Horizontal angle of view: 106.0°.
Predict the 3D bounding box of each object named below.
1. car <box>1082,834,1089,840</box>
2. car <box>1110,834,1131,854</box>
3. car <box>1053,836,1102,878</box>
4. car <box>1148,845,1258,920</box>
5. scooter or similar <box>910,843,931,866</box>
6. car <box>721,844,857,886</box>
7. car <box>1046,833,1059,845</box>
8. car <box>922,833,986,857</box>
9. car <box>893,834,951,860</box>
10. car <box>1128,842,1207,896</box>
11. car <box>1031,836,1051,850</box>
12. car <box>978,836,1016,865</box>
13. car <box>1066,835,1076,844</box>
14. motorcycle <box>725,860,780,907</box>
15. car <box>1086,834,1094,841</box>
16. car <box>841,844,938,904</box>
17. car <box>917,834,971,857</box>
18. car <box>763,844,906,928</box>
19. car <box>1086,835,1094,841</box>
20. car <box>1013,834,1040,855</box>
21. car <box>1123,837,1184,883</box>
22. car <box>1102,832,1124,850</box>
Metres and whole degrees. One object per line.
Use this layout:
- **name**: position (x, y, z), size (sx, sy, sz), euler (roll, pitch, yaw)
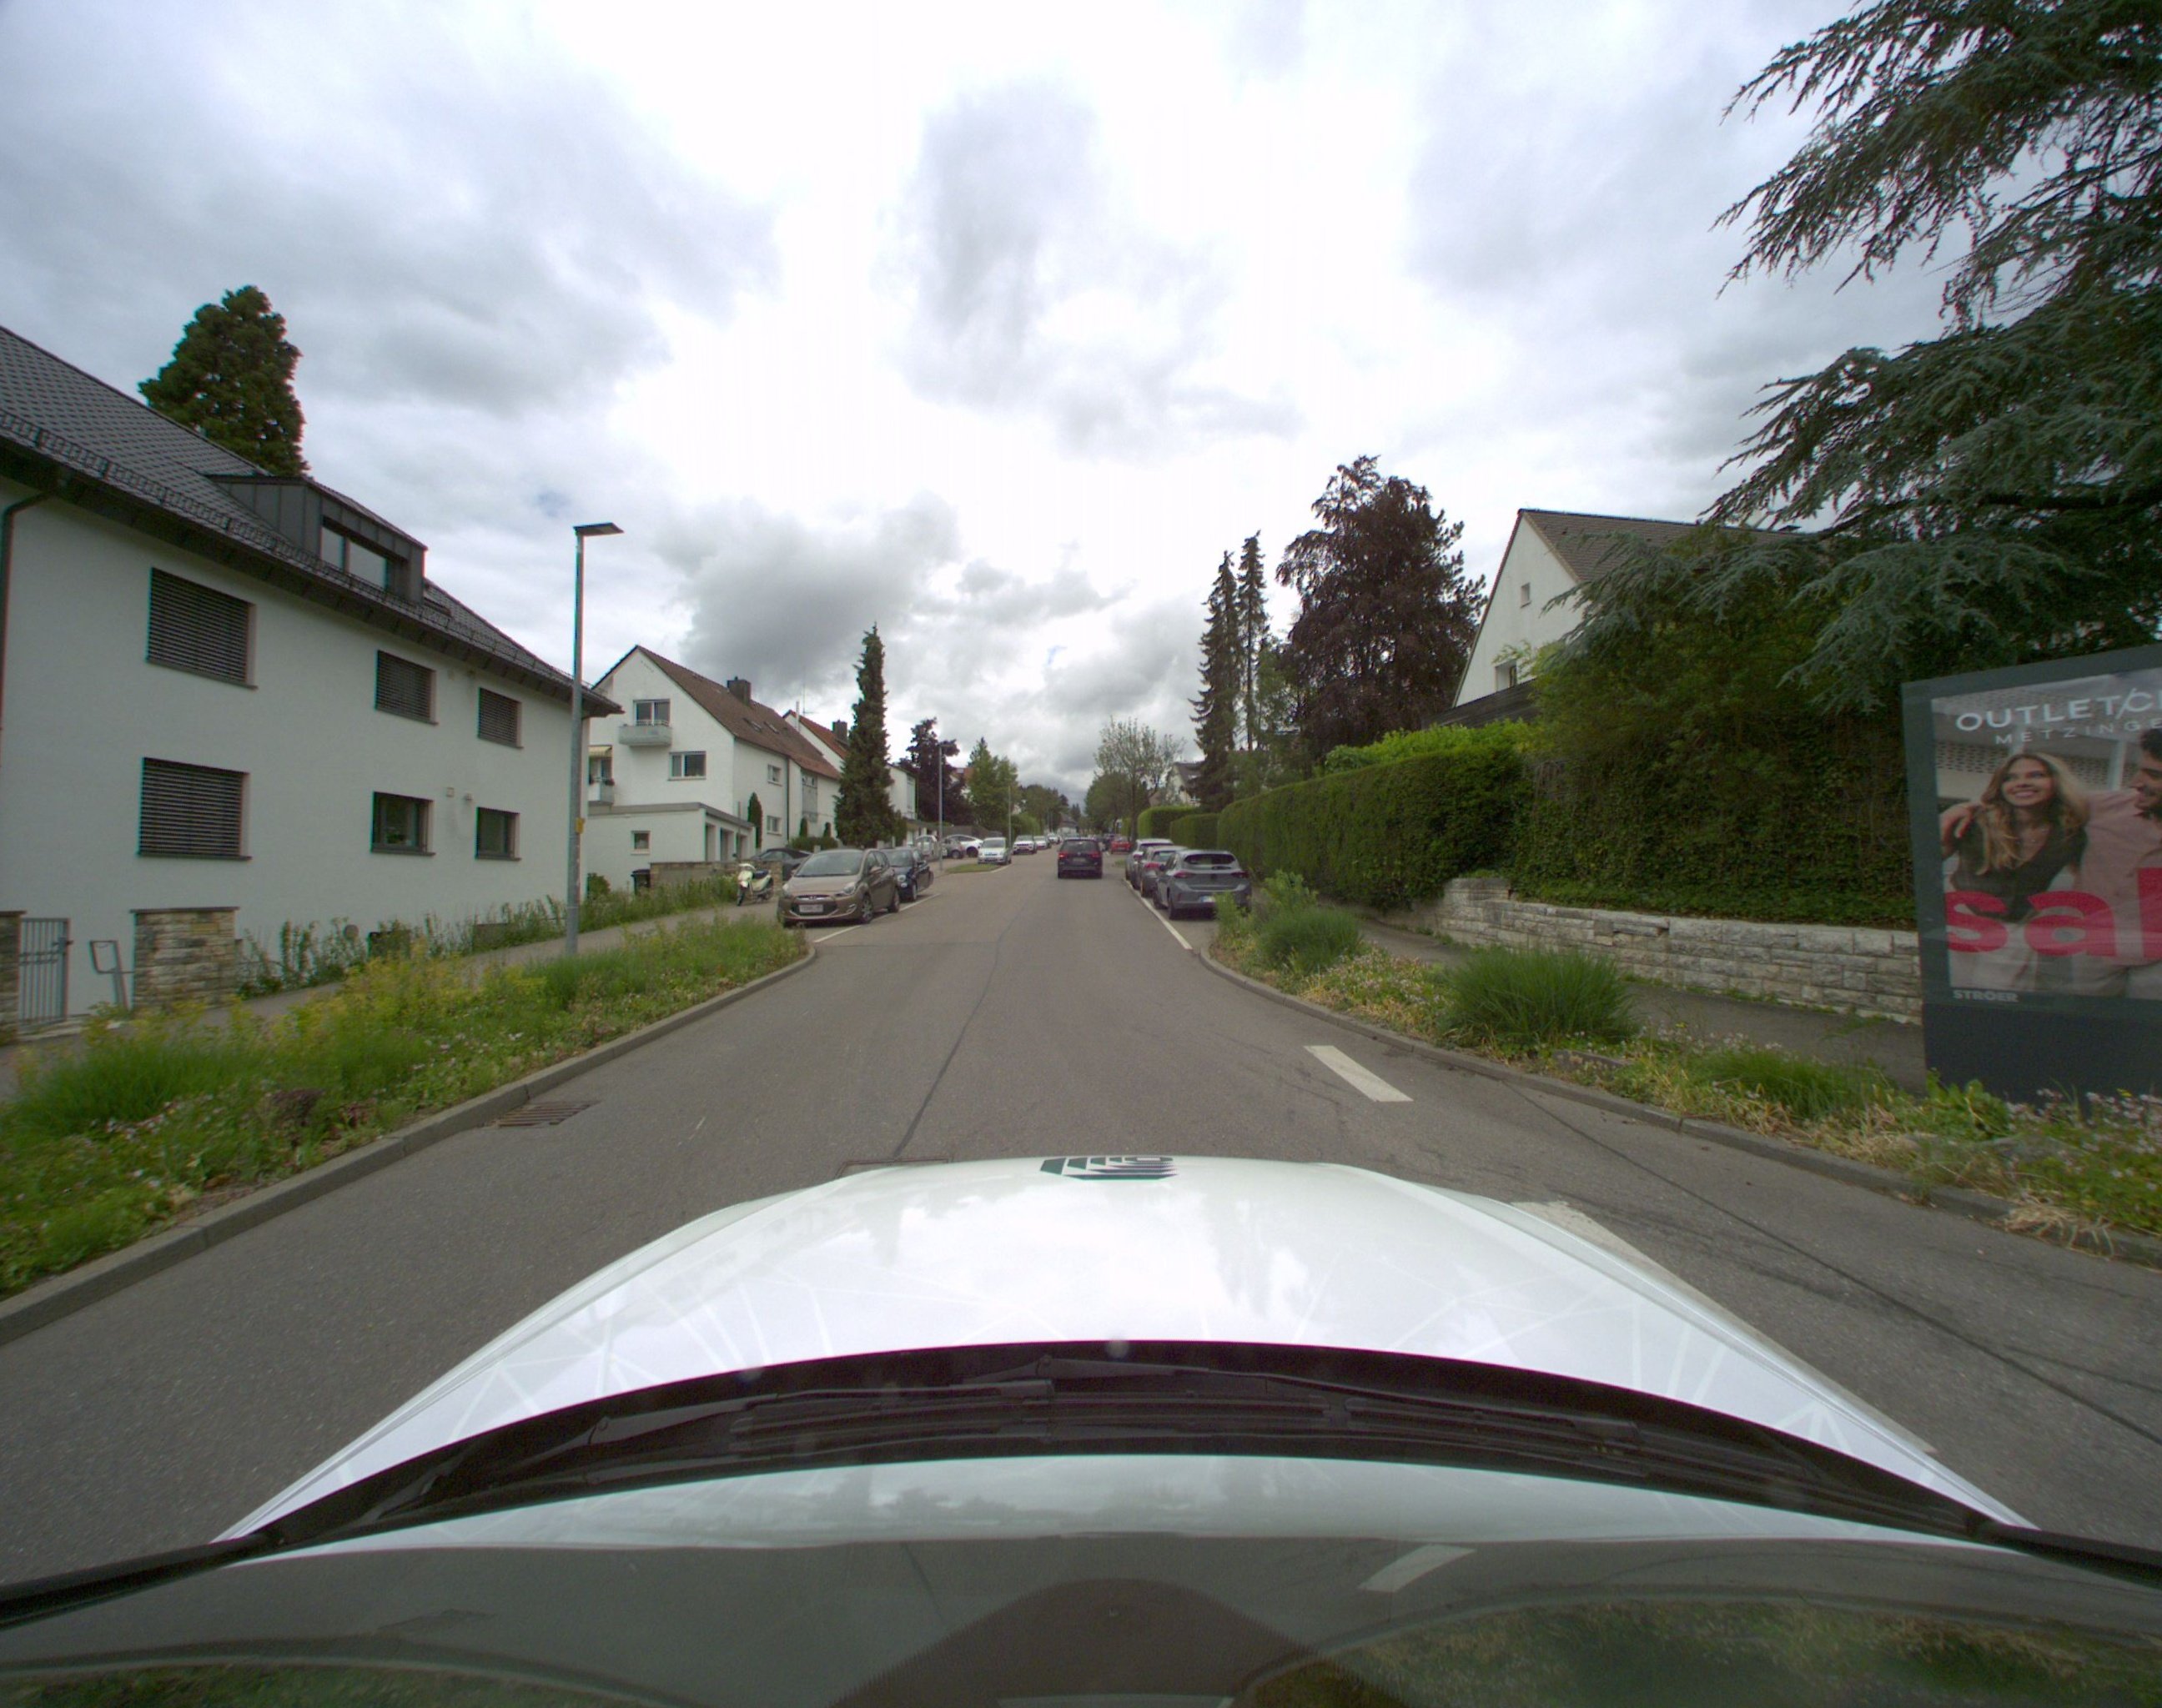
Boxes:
- **car**: position (1.155, -4.408, 210.037), size (1.640, 1.668, 3.464), euler (-1, 2, -3)
- **car**: position (3.251, -0.849, 67.342), size (1.655, 1.508, 3.760), euler (-1, 2, 1)
- **car**: position (-0.075, 0.073, 33.615), size (1.840, 1.611, 4.313), euler (-1, 1, 2)
- **car**: position (2.626, 0.559, 18.408), size (1.849, 1.464, 3.999), euler (0, 1, -1)
- **scooter or similar**: position (-8.499, 0.019, 43.230), size (0.470, 1.148, 1.461), euler (1, 2, 17)
- **car**: position (-10.569, 0.368, 29.759), size (4.279, 1.367, 1.901), euler (-1, 1, -5)
- **car**: position (-3.905, -2.106, 112.919), size (1.717, 1.540, 3.998), euler (-2, 2, -1)
- **car**: position (-9.402, -0.686, 60.682), size (4.397, 1.628, 1.911), euler (2, 1, -1)
- **car**: position (-10.514, -0.457, 53.899), size (3.416, 1.578, 1.657), euler (1, 0, 2)
- **car**: position (2.478, 0.384, 24.311), size (1.849, 1.464, 4.170), euler (0, 1, -1)
- **car**: position (-4.333, -1.212, 88.416), size (1.831, 1.422, 4.409), euler (-2, 1, 0)
- **car**: position (-4.886, -0.250, 47.961), size (1.754, 1.562, 3.856), euler (-2, 1, 1)
- **car**: position (-2.127, -3.055, 172.047), size (1.879, 1.850, 4.402), euler (-2, 1, 0)
- **motorcycle**: position (-8.804, 0.763, 21.884), size (0.427, 1.161, 1.867), euler (-2, 0, 9)
- **car**: position (2.237, -3.974, 194.683), size (1.661, 1.668, 3.464), euler (-1, 2, -3)
- **car**: position (-5.435, 0.511, 23.606), size (1.871, 1.536, 3.508), euler (-1, 1, 1)
- **car**: position (-9.573, -0.616, 56.964), size (3.416, 1.512, 1.693), euler (1, 0, 2)
- **car**: position (-5.271, 0.614, 18.001), size (1.871, 1.584, 3.873), euler (-1, 1, 1)
- **car**: position (2.083, -3.716, 187.872), size (1.661, 1.500, 3.464), euler (-1, 2, -3)
- **car**: position (-4.643, -0.820, 69.821), size (1.830, 1.666, 4.411), euler (-2, 1, 2)
- **car**: position (2.597, 0.163, 30.119), size (1.849, 1.582, 4.170), euler (0, 1, -1)
- **car**: position (3.013, -1.271, 77.174), size (1.986, 1.617, 4.515), euler (1, 1, 2)
